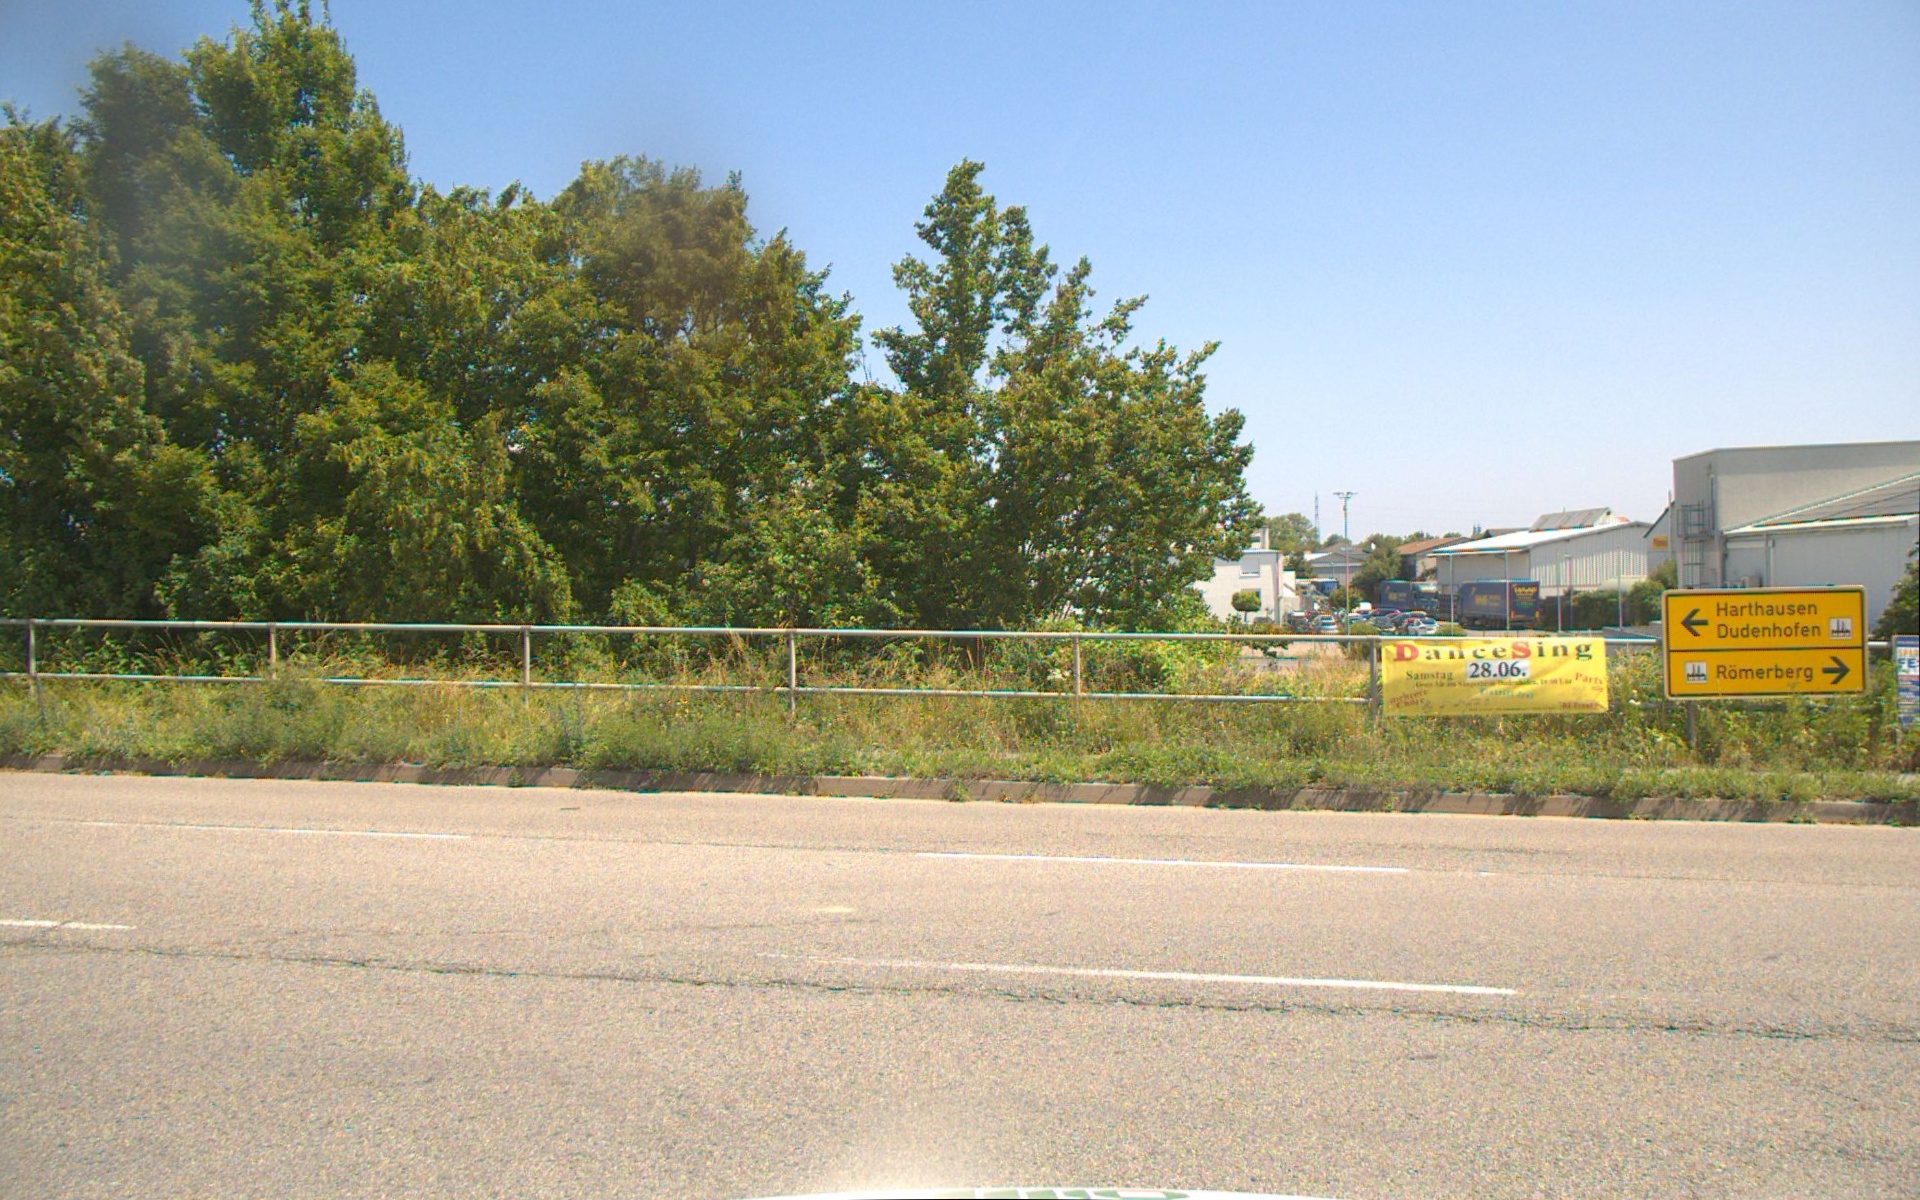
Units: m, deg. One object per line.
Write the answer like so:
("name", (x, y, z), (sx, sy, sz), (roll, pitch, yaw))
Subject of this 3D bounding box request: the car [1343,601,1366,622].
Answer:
("car", (40.921, 1.166, 171.590), (1.681, 2.049, 4.002), (0, 0, 3))

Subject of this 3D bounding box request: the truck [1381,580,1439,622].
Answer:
("truck", (49.161, 0.072, 181.252), (3.340, 4.386, 14.600), (0, 0, 4))

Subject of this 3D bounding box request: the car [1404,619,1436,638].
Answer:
("car", (36.580, 2.265, 131.609), (1.648, 1.387, 3.838), (-3, 0, 3))

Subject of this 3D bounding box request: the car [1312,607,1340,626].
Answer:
("car", (36.788, 1.638, 166.145), (1.952, 1.761, 4.865), (0, 0, 3))

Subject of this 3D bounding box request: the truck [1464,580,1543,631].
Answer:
("truck", (47.987, 0.432, 146.547), (3.630, 4.386, 13.350), (0, 0, 5))

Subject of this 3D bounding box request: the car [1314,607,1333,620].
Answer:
("car", (38.451, 1.424, 174.936), (1.420, 1.374, 3.317), (0, 0, 2))
